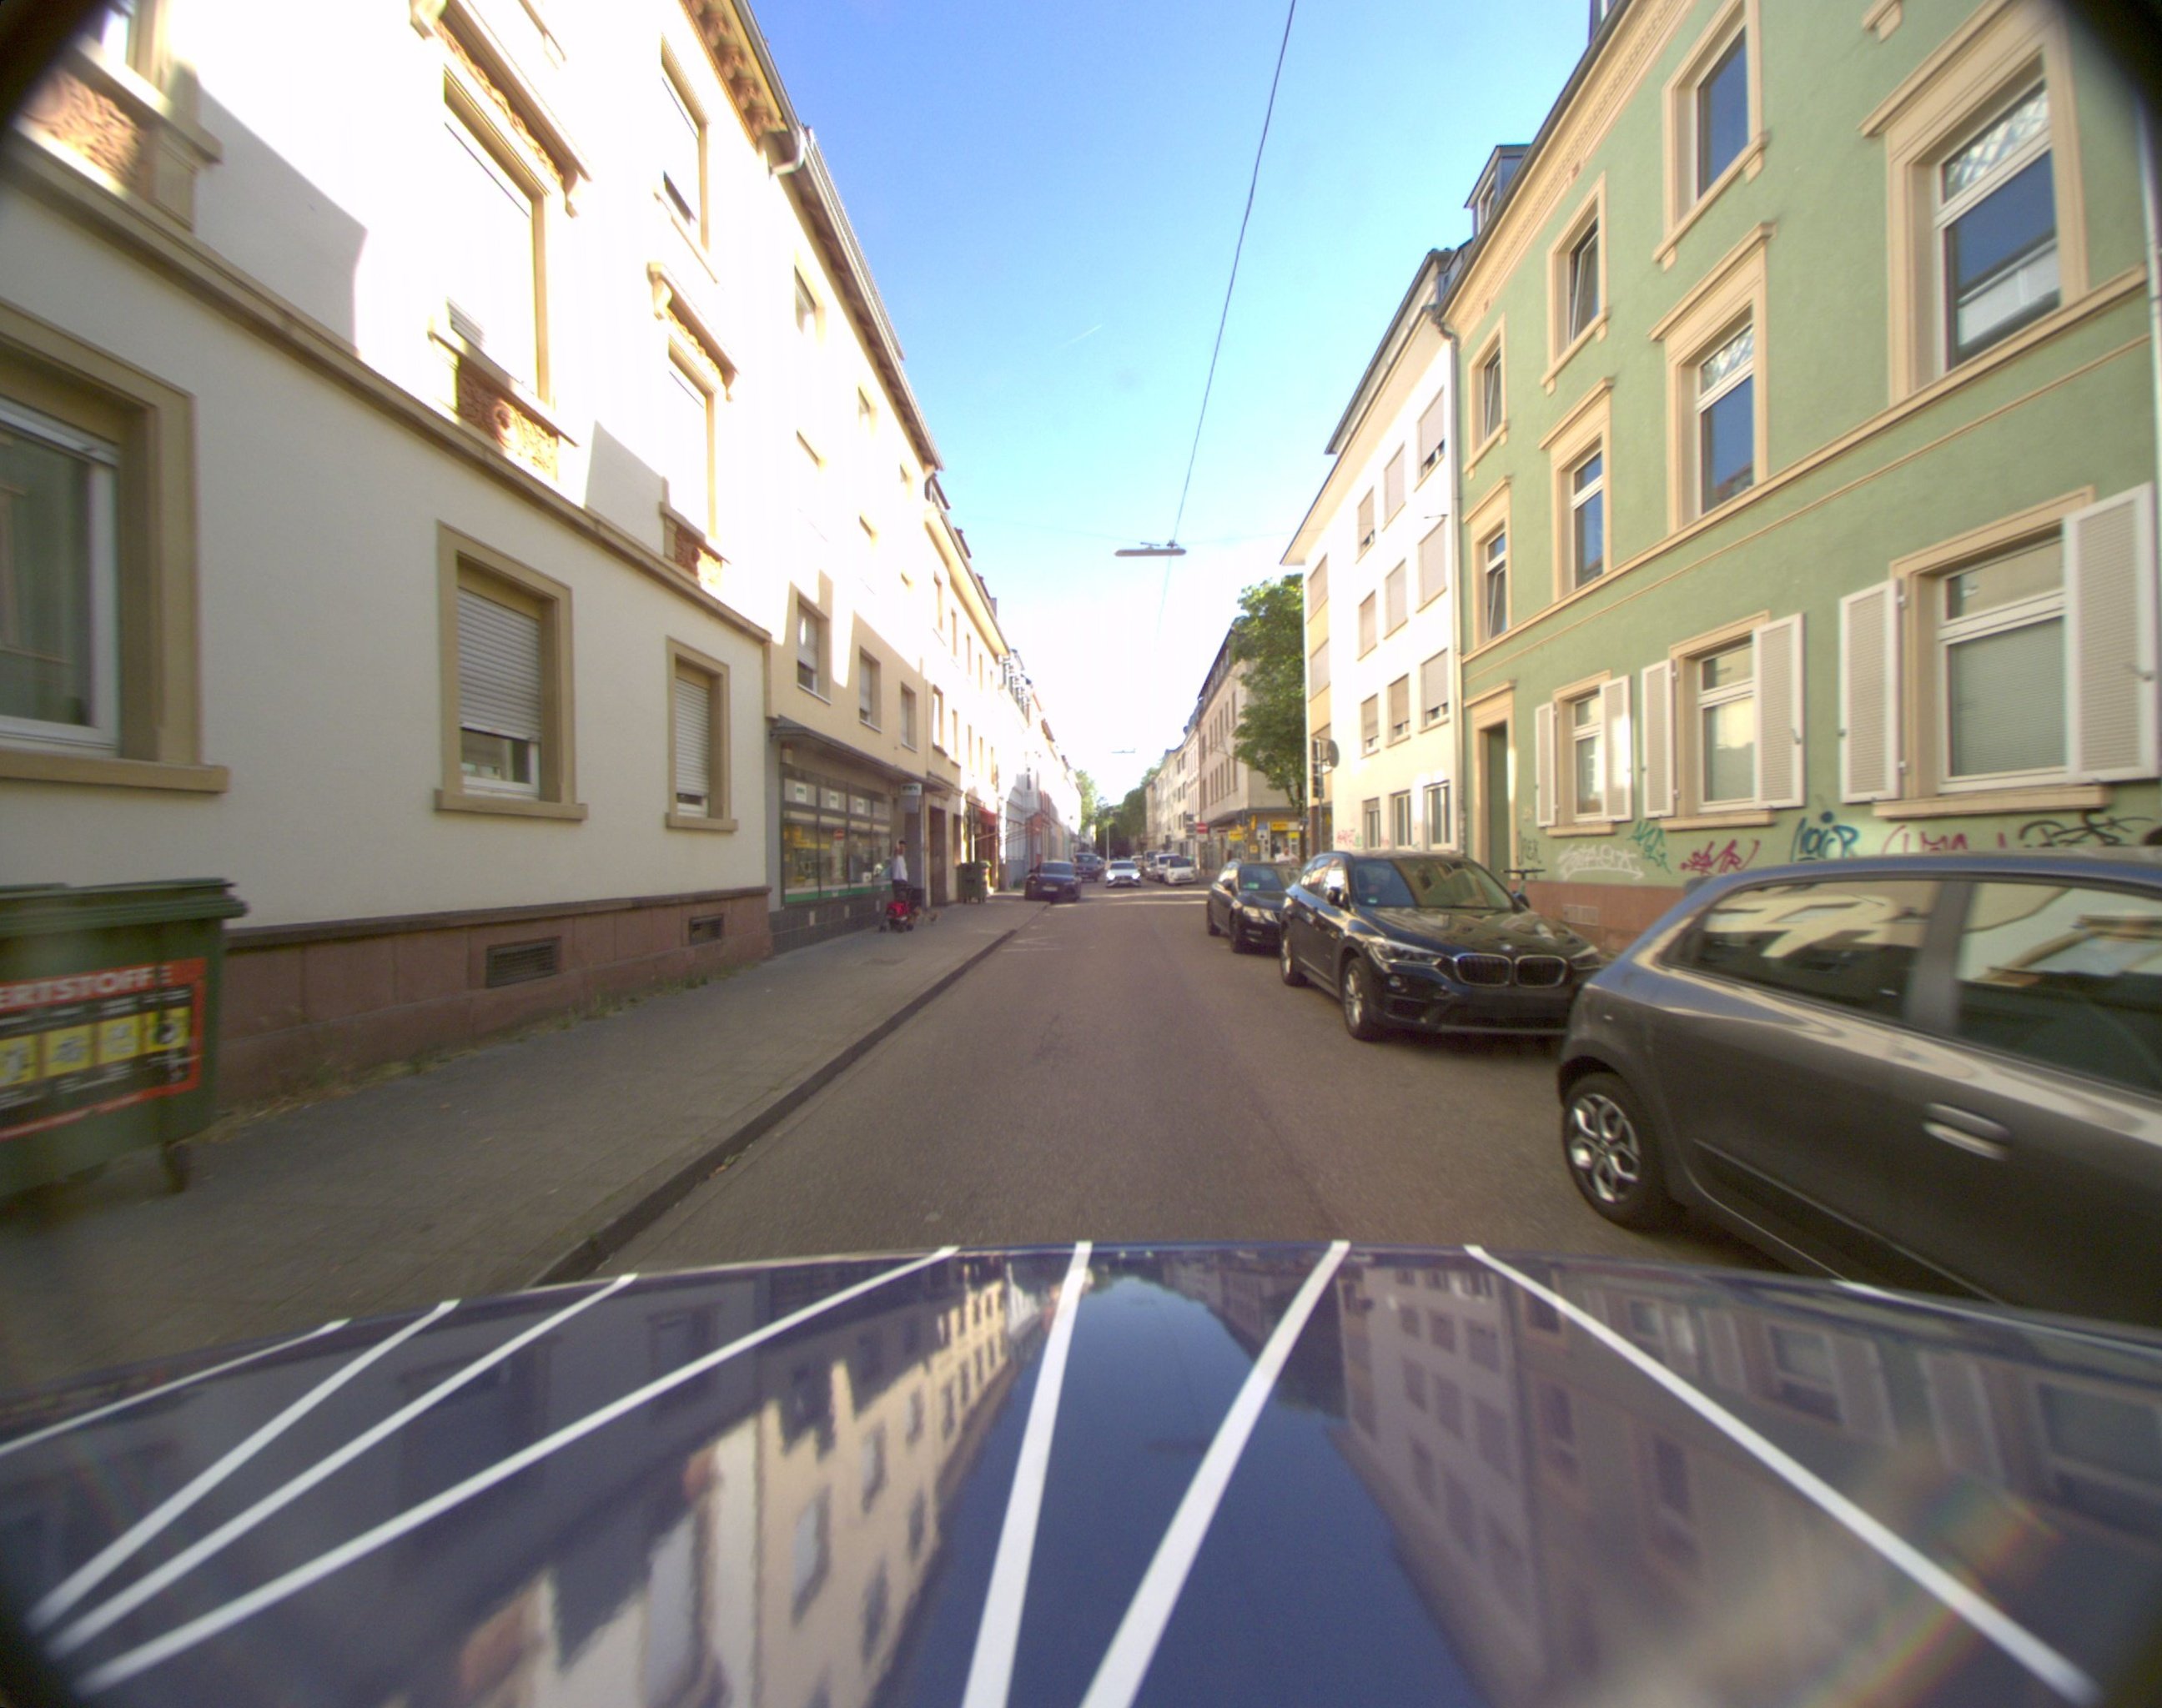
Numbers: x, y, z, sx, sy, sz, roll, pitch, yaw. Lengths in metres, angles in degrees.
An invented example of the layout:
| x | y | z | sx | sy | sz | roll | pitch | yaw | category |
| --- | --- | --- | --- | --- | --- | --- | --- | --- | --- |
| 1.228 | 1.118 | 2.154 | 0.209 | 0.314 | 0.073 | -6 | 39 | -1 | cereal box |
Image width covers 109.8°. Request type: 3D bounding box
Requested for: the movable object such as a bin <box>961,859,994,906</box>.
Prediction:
| x | y | z | sx | sy | sz | roll | pitch | yaw | category |
| --- | --- | --- | --- | --- | --- | --- | --- | --- | --- |
| -3.343 | 0.904 | 24.571 | 0.748 | 1.428 | 1.372 | 2 | 1 | 4 | movable object such as a bin |

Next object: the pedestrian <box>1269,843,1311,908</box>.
| x | y | z | sx | sy | sz | roll | pitch | yaw | category |
| --- | --- | --- | --- | --- | --- | --- | --- | --- | --- |
| 6.062 | 0.612 | 22.135 | 0.913 | 1.822 | 1.245 | -1 | 1 | 2 | pedestrian |

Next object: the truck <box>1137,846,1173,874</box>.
| x | y | z | sx | sy | sz | roll | pitch | yaw | category |
| --- | --- | --- | --- | --- | --- | --- | --- | --- | --- |
| 6.375 | 0.478 | 66.274 | 2.170 | 2.295 | 6.345 | 0 | 1 | -3 | truck |

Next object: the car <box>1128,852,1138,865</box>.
| x | y | z | sx | sy | sz | roll | pitch | yaw | category |
| --- | --- | --- | --- | --- | --- | --- | --- | --- | --- |
| 8.445 | 0.750 | 123.841 | 1.585 | 1.971 | 4.068 | -1 | 1 | 3 | car |

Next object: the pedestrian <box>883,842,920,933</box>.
| x | y | z | sx | sy | sz | roll | pitch | yaw | category |
| --- | --- | --- | --- | --- | --- | --- | --- | --- | --- |
| -3.766 | 0.689 | 15.920 | 0.651 | 1.849 | 0.747 | 1 | 0 | -19 | pedestrian |

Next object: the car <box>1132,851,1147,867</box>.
| x | y | z | sx | sy | sz | roll | pitch | yaw | category |
| --- | --- | --- | --- | --- | --- | --- | --- | --- | --- |
| 7.946 | 0.619 | 104.145 | 1.913 | 2.076 | 4.697 | -1 | 0 | 3 | car |

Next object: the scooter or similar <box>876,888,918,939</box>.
| x | y | z | sx | sy | sz | roll | pitch | yaw | category |
| --- | --- | --- | --- | --- | --- | --- | --- | --- | --- |
| -3.605 | 1.147 | 14.953 | 0.491 | 0.939 | 0.869 | 0 | 0 | 9 | scooter or similar |

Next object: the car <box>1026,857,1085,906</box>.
| x | y | z | sx | sy | sz | roll | pitch | yaw | category |
| --- | --- | --- | --- | --- | --- | --- | --- | --- | --- |
| -0.868 | 0.962 | 28.681 | 1.805 | 1.570 | 4.898 | -2 | 0 | 2 | car |

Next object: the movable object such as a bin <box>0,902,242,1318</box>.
| x | y | z | sx | sy | sz | roll | pitch | yaw | category |
| --- | --- | --- | --- | --- | --- | --- | --- | --- | --- |
| -4.223 | 0.938 | 2.772 | 0.839 | 1.382 | 1.297 | 1 | 2 | 1 | movable object such as a bin |

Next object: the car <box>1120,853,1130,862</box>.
| x | y | z | sx | sy | sz | roll | pitch | yaw | category |
| --- | --- | --- | --- | --- | --- | --- | --- | --- | --- |
| 8.882 | 0.735 | 153.496 | 1.786 | 1.674 | 4.022 | -1 | 1 | 3 | car |

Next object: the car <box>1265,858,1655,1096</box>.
| x | y | z | sx | sy | sz | roll | pitch | yaw | category |
| --- | --- | --- | --- | --- | --- | --- | --- | --- | --- |
| 3.137 | 0.844 | 7.495 | 1.748 | 1.605 | 4.604 | 0 | 0 | 3 | car |

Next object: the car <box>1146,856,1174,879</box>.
| x | y | z | sx | sy | sz | roll | pitch | yaw | category |
| --- | --- | --- | --- | --- | --- | --- | --- | --- | --- |
| 5.661 | 0.947 | 54.928 | 1.668 | 1.514 | 4.489 | 1 | 0 | 1 | car |

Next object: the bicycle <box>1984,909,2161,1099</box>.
| x | y | z | sx | sy | sz | roll | pitch | yaw | category |
| --- | --- | --- | --- | --- | --- | --- | --- | --- | --- |
| 6.547 | 0.923 | 4.547 | 0.361 | 1.023 | 1.919 | -1 | 1 | 12 | bicycle |

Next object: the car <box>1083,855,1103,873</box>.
| x | y | z | sx | sy | sz | roll | pitch | yaw | category |
| --- | --- | --- | --- | --- | --- | --- | --- | --- | --- |
| 1.179 | 0.906 | 71.267 | 1.744 | 1.534 | 4.051 | -1 | 1 | 3 | car |

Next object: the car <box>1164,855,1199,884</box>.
| x | y | z | sx | sy | sz | roll | pitch | yaw | category |
| --- | --- | --- | --- | --- | --- | --- | --- | --- | --- |
| 5.615 | 0.844 | 42.698 | 1.671 | 1.551 | 3.723 | -1 | 0 | 3 | car |

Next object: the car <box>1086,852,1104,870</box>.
| x | y | z | sx | sy | sz | roll | pitch | yaw | category |
| --- | --- | --- | --- | --- | --- | --- | --- | --- | --- |
| 1.614 | 0.765 | 84.371 | 1.898 | 1.875 | 4.458 | -1 | 1 | 3 | car |

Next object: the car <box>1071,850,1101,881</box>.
| x | y | z | sx | sy | sz | roll | pitch | yaw | category |
| --- | --- | --- | --- | --- | --- | --- | --- | --- | --- |
| 0.388 | 0.765 | 53.608 | 1.974 | 2.017 | 4.899 | -2 | 0 | 1 | car |

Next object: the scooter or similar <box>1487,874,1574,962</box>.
| x | y | z | sx | sy | sz | roll | pitch | yaw | category |
| --- | --- | --- | --- | --- | --- | --- | --- | --- | --- |
| 6.783 | 0.925 | 11.538 | 0.455 | 1.175 | 1.691 | -1 | 1 | 5 | scooter or similar |

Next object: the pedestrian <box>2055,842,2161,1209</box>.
| x | y | z | sx | sy | sz | roll | pitch | yaw | category |
| --- | --- | --- | --- | --- | --- | --- | --- | --- | --- |
| 5.416 | 0.800 | 3.477 | 0.766 | 1.704 | 0.883 | -2 | 1 | 2 | pedestrian |

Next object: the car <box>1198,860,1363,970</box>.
| x | y | z | sx | sy | sz | roll | pitch | yaw | category |
| --- | --- | --- | --- | --- | --- | --- | --- | --- | --- |
| 3.242 | 0.891 | 13.357 | 1.718 | 1.480 | 4.852 | 2 | 0 | 2 | car |

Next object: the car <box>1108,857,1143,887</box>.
| x | y | z | sx | sy | sz | roll | pitch | yaw | category |
| --- | --- | --- | --- | --- | --- | --- | --- | --- | --- |
| 2.358 | 0.928 | 40.903 | 1.761 | 1.399 | 4.022 | -1 | 1 | 3 | car |

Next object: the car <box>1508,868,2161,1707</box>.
| x | y | z | sx | sy | sz | roll | pitch | yaw | category |
| --- | --- | --- | --- | --- | --- | --- | --- | --- | --- |
| 2.848 | 0.852 | 1.706 | 1.619 | 1.544 | 3.978 | -1 | 0 | 1 | car |

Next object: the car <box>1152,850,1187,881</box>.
| x | y | z | sx | sy | sz | roll | pitch | yaw | category |
| --- | --- | --- | --- | --- | --- | --- | --- | --- | --- |
| 5.666 | 0.718 | 48.919 | 1.771 | 1.887 | 4.809 | 1 | 0 | 1 | car |
